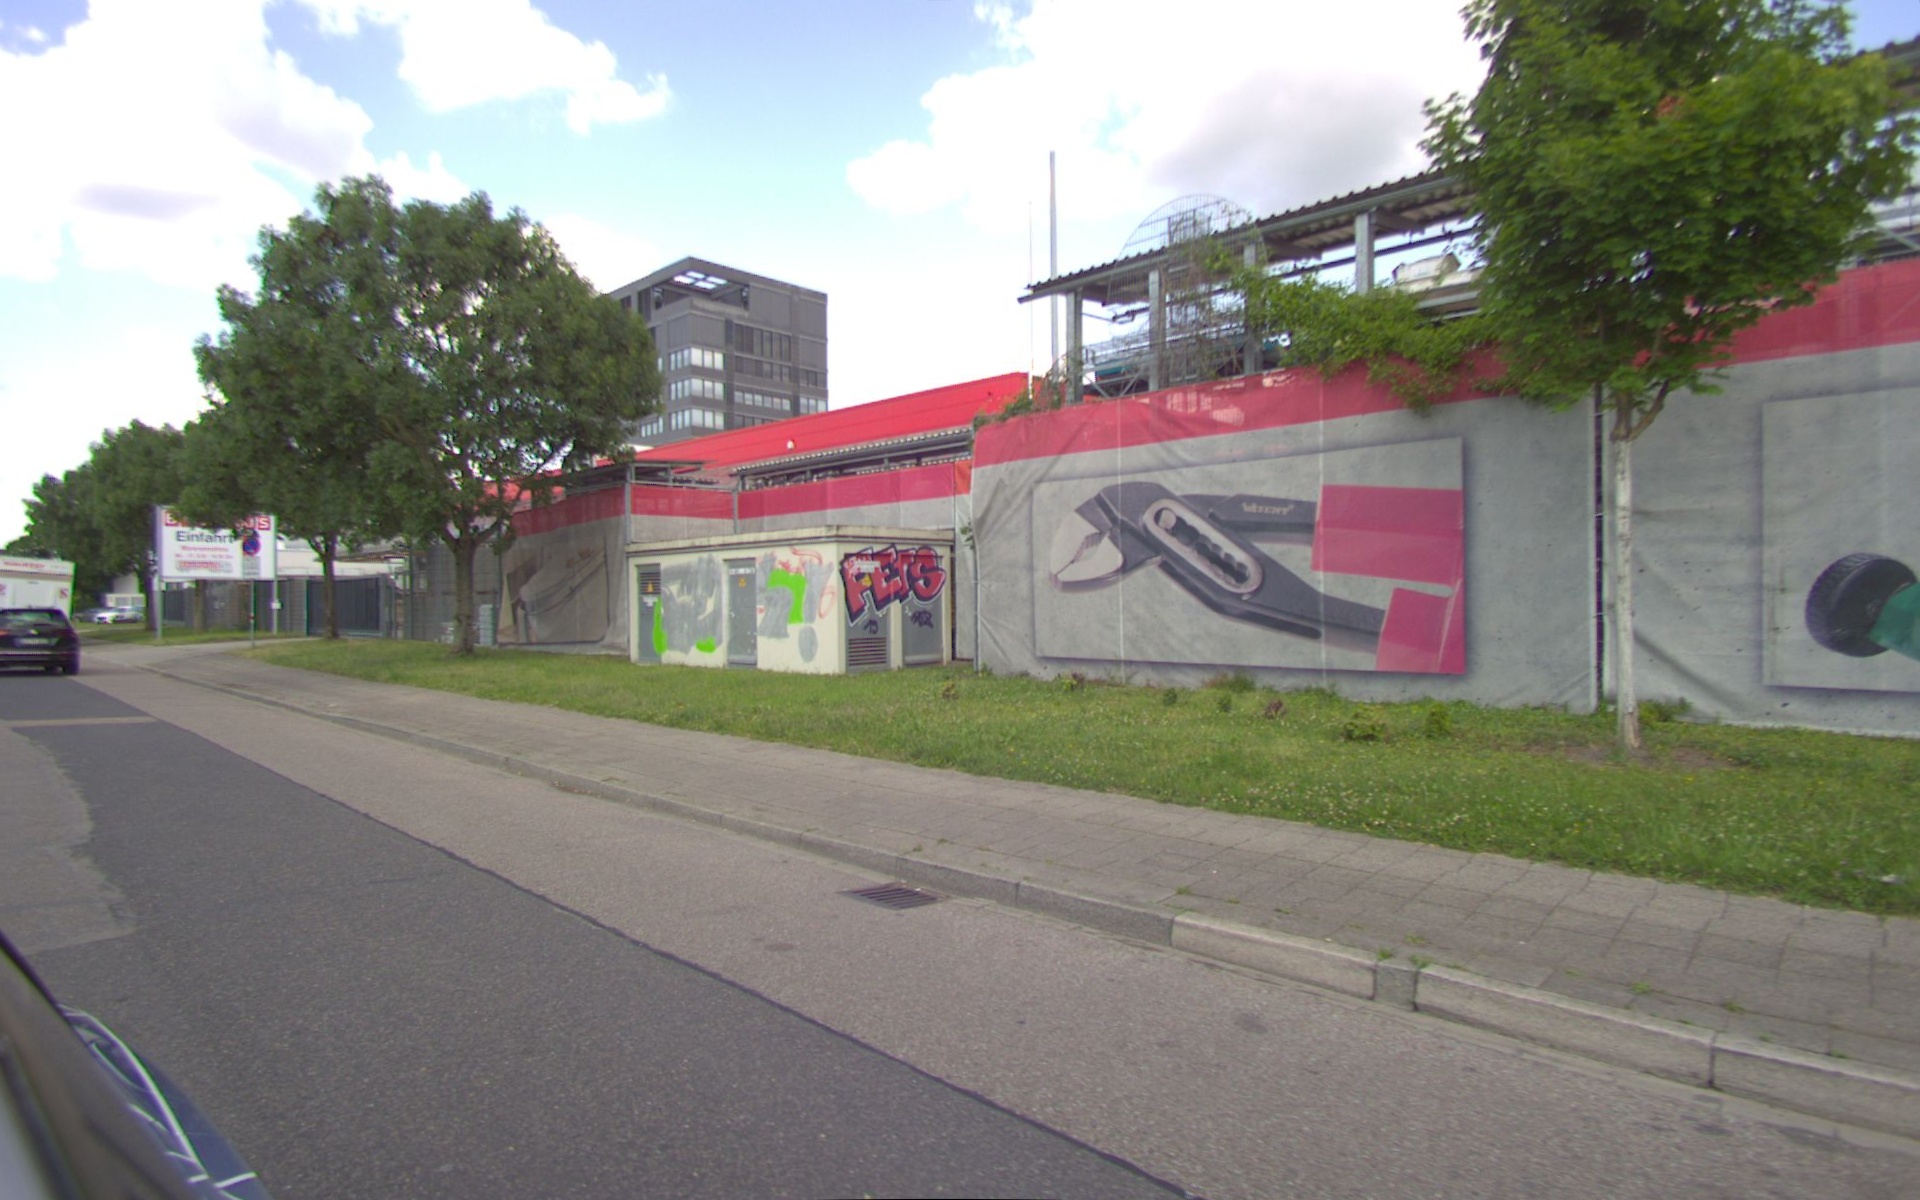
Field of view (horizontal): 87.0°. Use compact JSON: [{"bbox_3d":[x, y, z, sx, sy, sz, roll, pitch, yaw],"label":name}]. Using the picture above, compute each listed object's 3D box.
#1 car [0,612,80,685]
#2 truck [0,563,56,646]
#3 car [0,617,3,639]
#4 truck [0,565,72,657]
[{"bbox_3d":[-22.729,1.132,24.403,4.295,1.632,1.853,-1,-4,44],"label":"car"},{"bbox_3d":[-46.927,0.263,50.040,7.173,3.838,2.717,-1,-2,44],"label":"truck"},{"bbox_3d":[-69.230,2.004,71.647,4.001,1.586,1.956,-1,0,43],"label":"car"},{"bbox_3d":[-40.932,0.458,44.103,7.173,3.751,2.717,0,-1,44],"label":"truck"}]
